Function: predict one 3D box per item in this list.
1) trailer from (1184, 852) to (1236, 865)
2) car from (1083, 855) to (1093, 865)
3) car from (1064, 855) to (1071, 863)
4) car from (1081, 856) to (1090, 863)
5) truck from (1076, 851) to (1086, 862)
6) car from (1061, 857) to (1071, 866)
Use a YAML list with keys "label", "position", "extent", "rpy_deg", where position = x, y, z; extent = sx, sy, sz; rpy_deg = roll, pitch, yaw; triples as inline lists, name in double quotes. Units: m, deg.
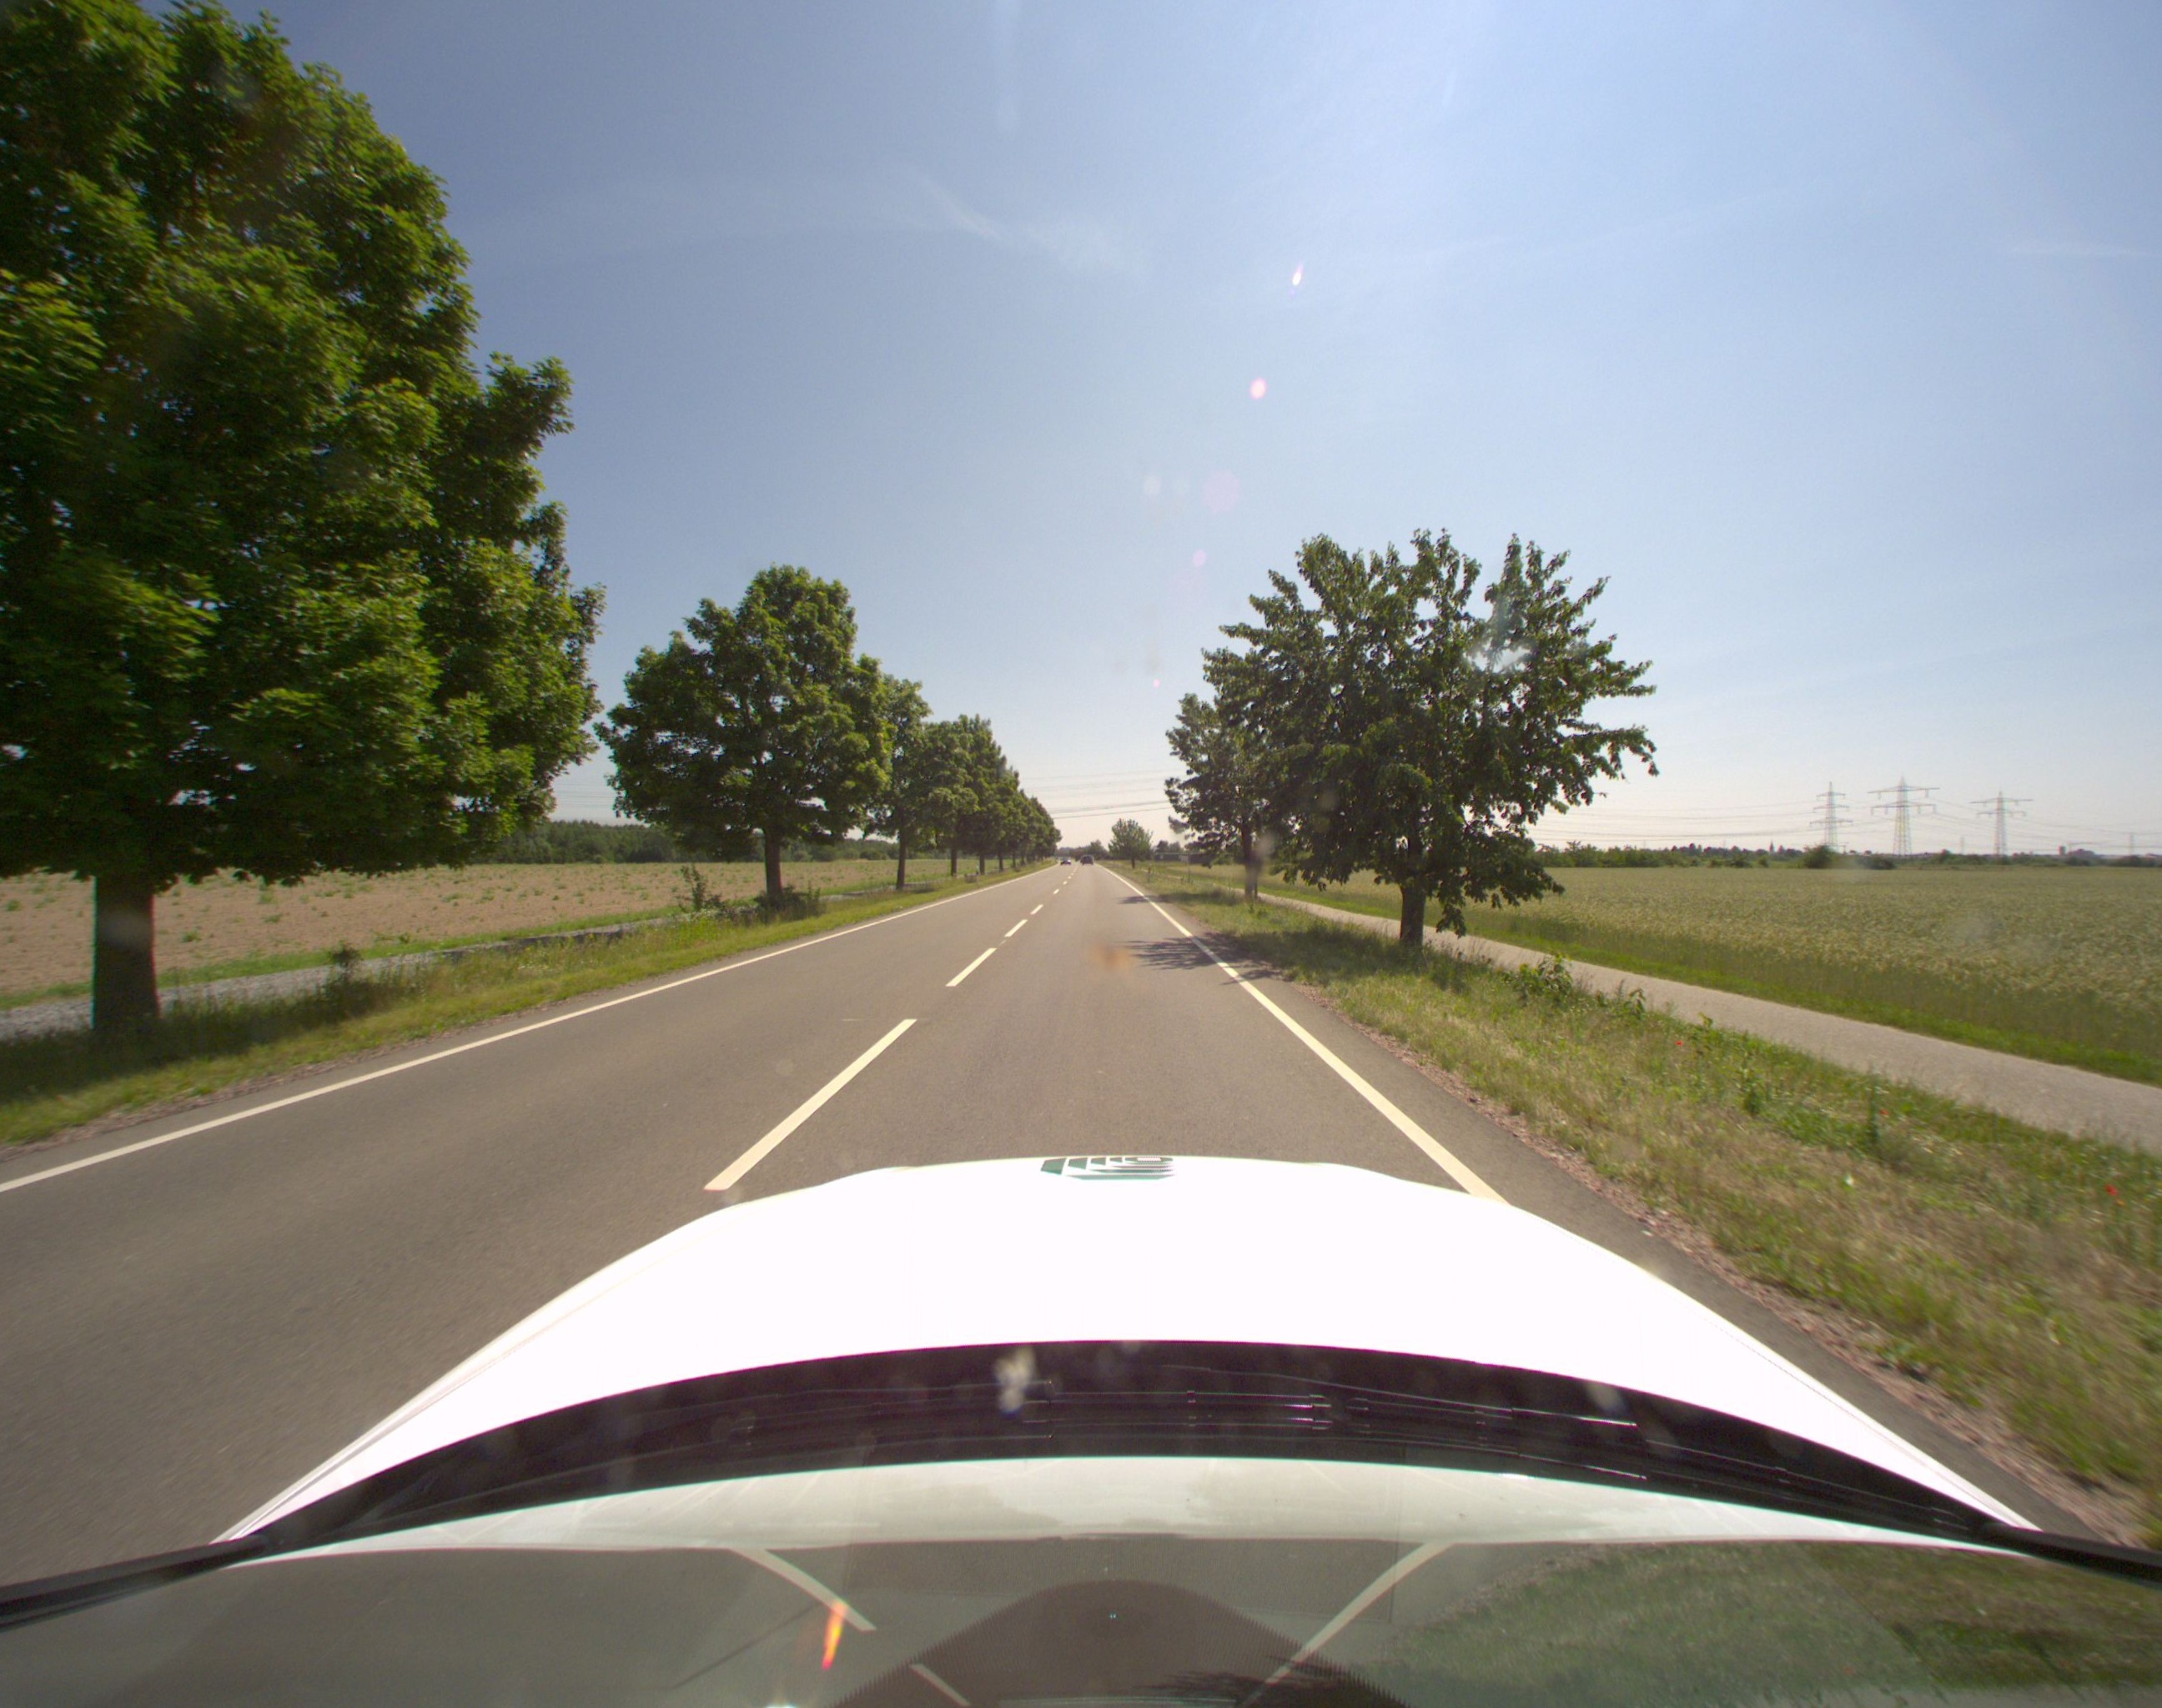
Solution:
- label: "trailer"
  position: [34.465, 1.194, 218.299]
  extent: [13.478, 3.475, 3.273]
  rpy_deg: [0, 0, -3]
- label: "car"
  position: [1.193, 1.049, 140.363]
  extent: [1.710, 1.694, 3.986]
  rpy_deg: [-1, -1, -1]
- label: "car"
  position: [-3.323, 1.174, 202.077]
  extent: [1.676, 1.849, 3.999]
  rpy_deg: [0, 0, 0]
- label: "car"
  position: [0.999, 1.158, 178.649]
  extent: [1.847, 1.523, 3.995]
  rpy_deg: [-1, -1, -3]
- label: "truck"
  position: [0.001, 0.694, 236.283]
  extent: [2.366, 3.140, 8.735]
  rpy_deg: [0, 0, -4]
- label: "car"
  position: [-2.676, 1.341, 146.231]
  extent: [1.816, 1.420, 4.588]
  rpy_deg: [-1, -1, 0]
